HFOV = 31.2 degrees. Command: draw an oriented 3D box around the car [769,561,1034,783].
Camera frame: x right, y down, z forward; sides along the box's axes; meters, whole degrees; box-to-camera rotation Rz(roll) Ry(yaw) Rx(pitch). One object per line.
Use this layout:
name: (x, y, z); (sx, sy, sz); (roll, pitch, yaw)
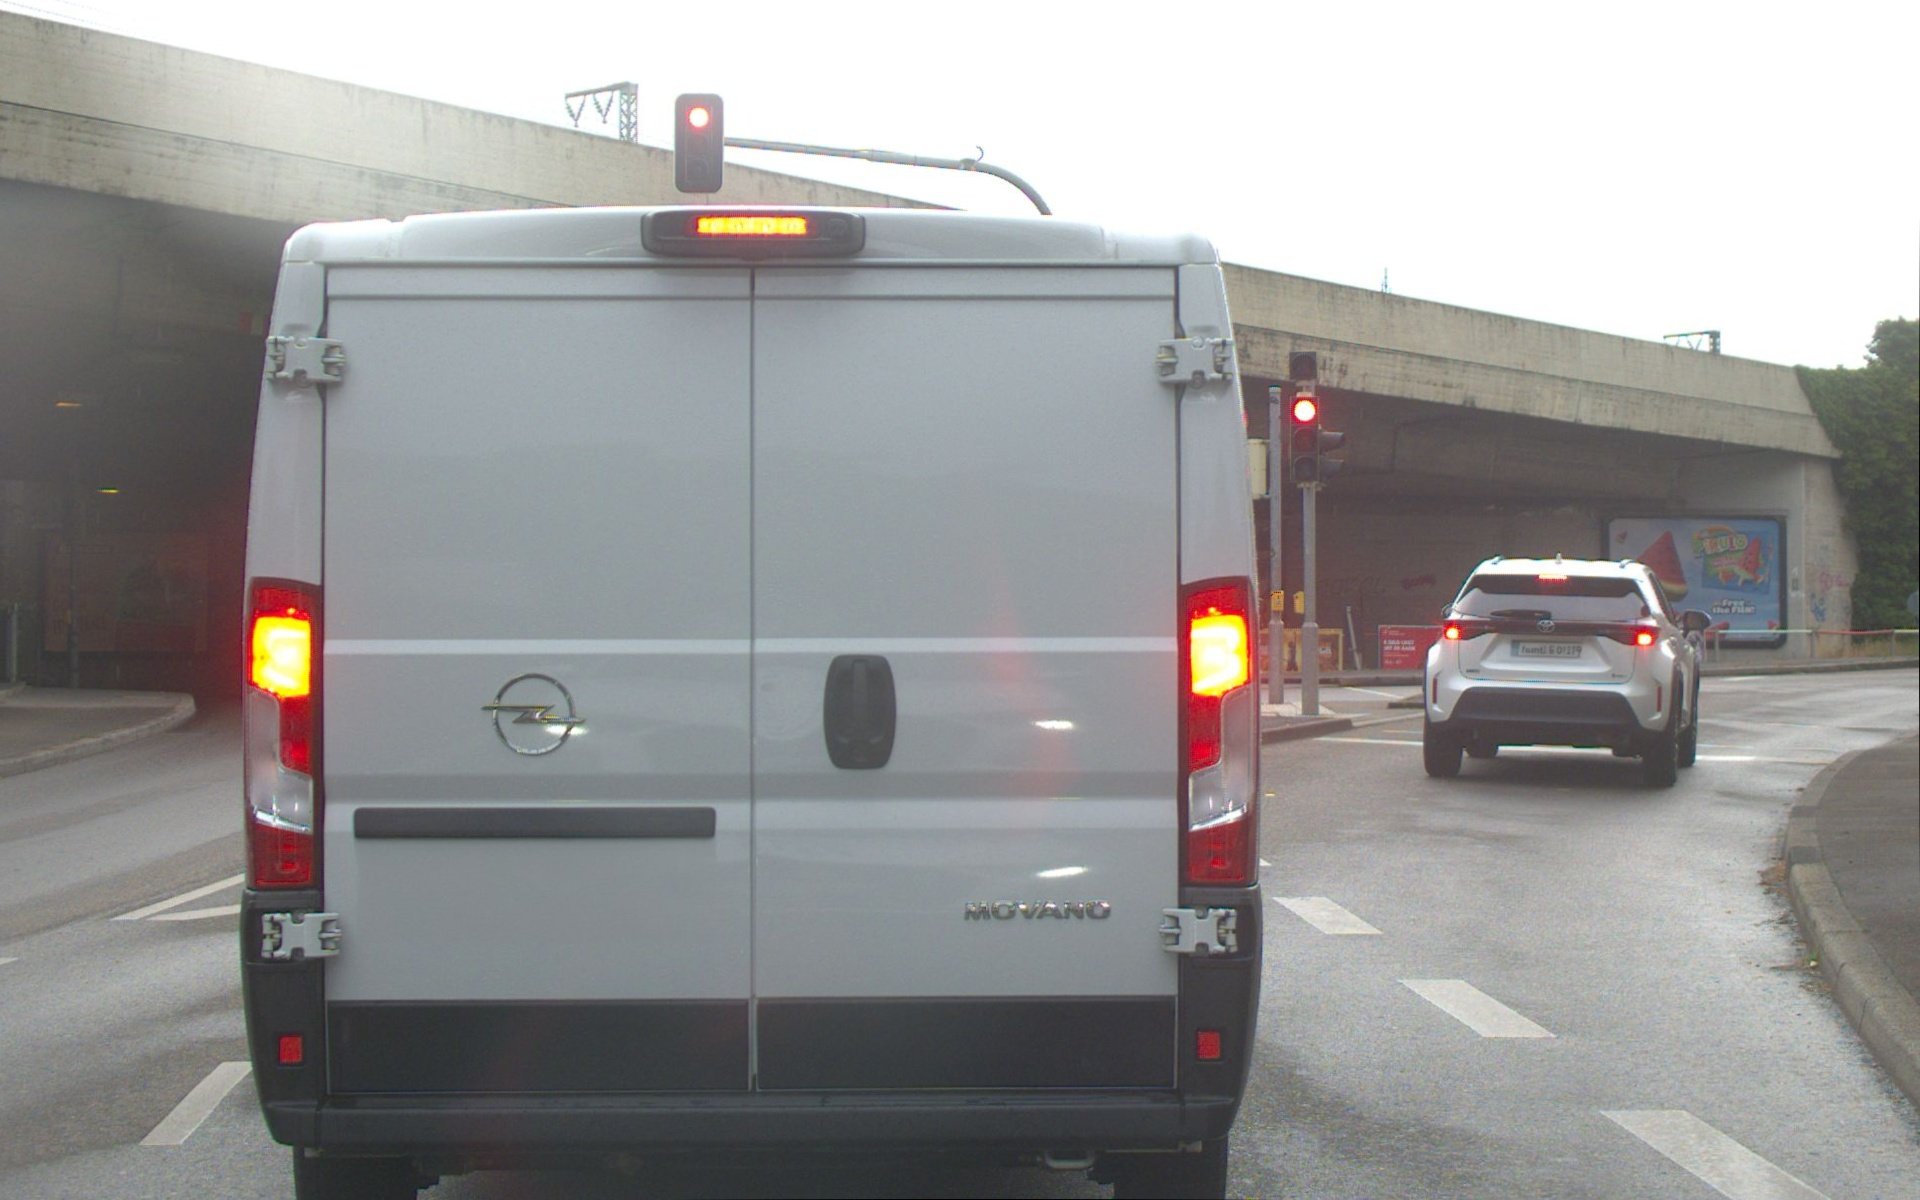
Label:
car: (-0.414, 0.581, 28.836); (1.994, 1.723, 3.999); (0, -1, 2)

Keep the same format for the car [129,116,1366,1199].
car: (-0.443, 0.248, 9.109); (2.305, 2.335, 5.282); (-1, 0, -1)

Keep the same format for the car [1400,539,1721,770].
car: (4.487, 0.383, 25.229); (1.995, 1.544, 3.997); (0, -1, 15)
